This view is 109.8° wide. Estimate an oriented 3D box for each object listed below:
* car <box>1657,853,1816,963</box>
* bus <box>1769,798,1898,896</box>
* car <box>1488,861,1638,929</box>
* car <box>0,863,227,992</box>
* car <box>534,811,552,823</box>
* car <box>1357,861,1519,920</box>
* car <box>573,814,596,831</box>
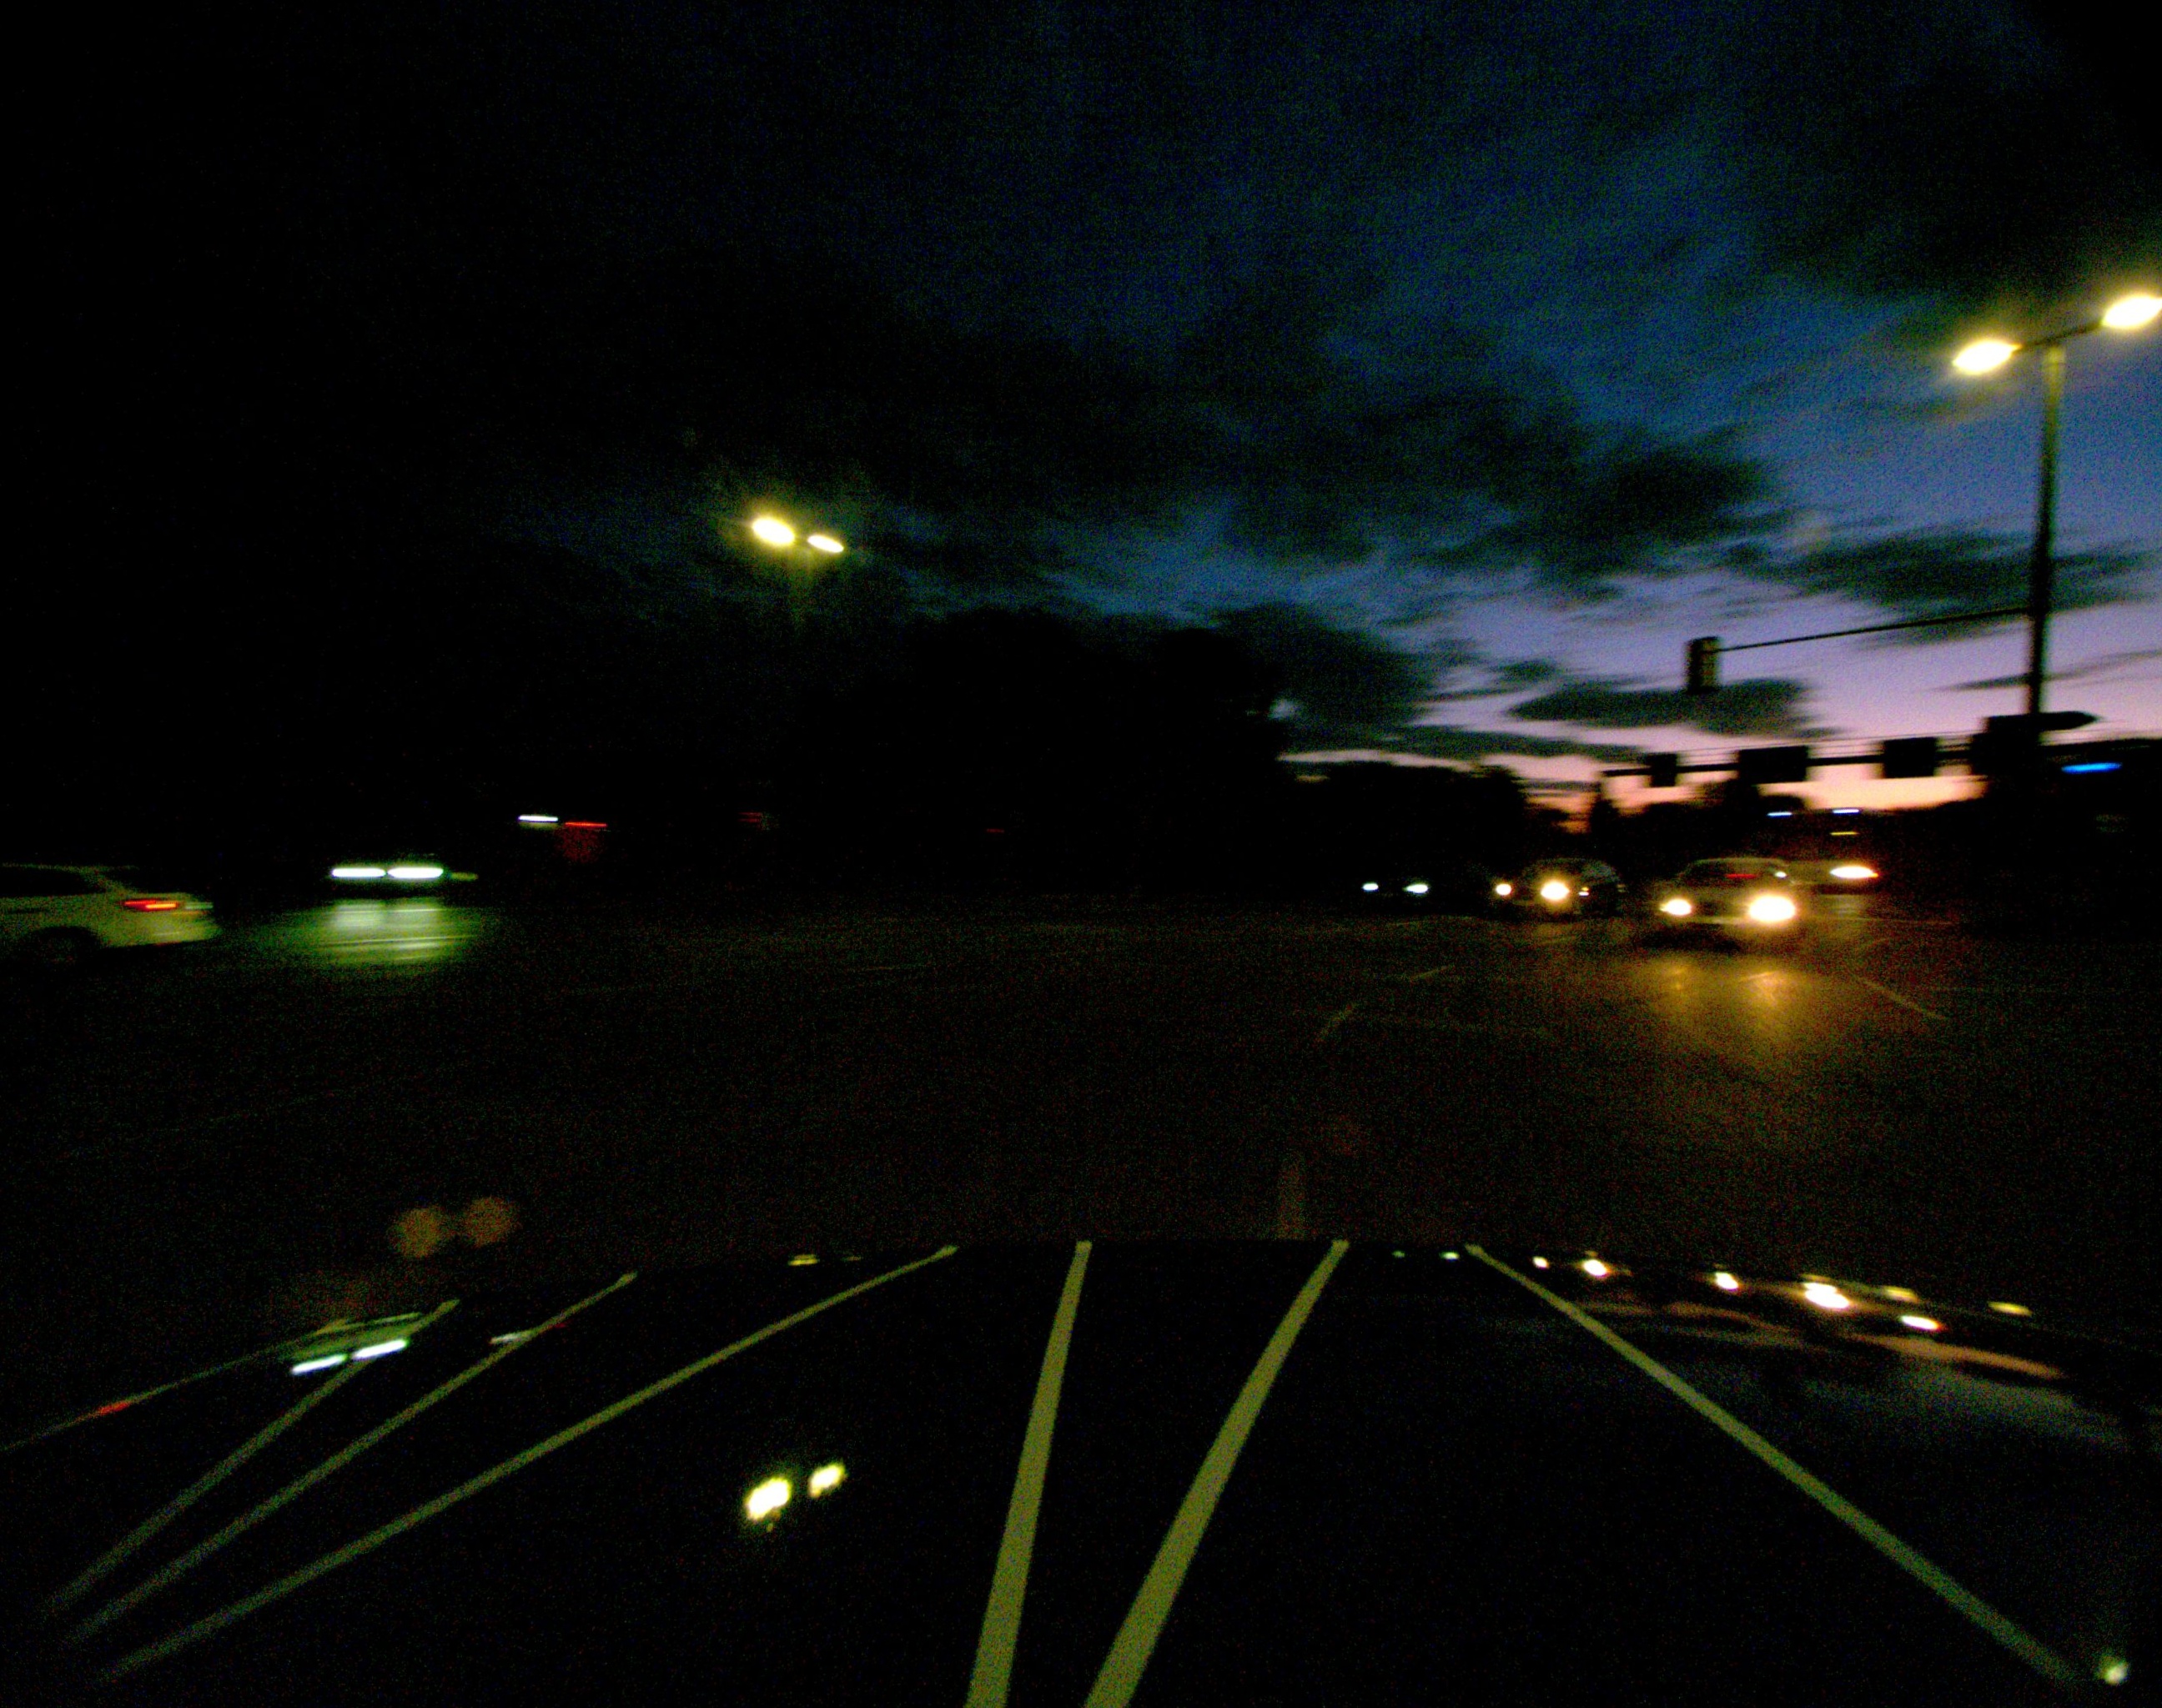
[{"bbox_3d":[11.774,0.826,13.543,4.420,1.643,1.666,0,0,-43],"label":"car"},{"bbox_3d":[33.923,-0.318,33.995,12.299,3.768,2.608,-1,0,-38],"label":"bus"},{"bbox_3d":[11.899,0.943,18.703,3.783,1.472,1.667,0,0,-32],"label":"car"},{"bbox_3d":[-13.407,0.856,8.986,4.126,1.435,1.620,0,1,-36],"label":"car"},{"bbox_3d":[-86.899,-5.957,122.763,1.701,1.586,3.917,-1,0,-25],"label":"car"},{"bbox_3d":[9.988,0.935,21.161,4.541,1.435,1.792,0,0,-30],"label":"car"},{"bbox_3d":[-56.229,-3.545,86.027,1.744,1.565,4.045,0,5,-39],"label":"car"}]
